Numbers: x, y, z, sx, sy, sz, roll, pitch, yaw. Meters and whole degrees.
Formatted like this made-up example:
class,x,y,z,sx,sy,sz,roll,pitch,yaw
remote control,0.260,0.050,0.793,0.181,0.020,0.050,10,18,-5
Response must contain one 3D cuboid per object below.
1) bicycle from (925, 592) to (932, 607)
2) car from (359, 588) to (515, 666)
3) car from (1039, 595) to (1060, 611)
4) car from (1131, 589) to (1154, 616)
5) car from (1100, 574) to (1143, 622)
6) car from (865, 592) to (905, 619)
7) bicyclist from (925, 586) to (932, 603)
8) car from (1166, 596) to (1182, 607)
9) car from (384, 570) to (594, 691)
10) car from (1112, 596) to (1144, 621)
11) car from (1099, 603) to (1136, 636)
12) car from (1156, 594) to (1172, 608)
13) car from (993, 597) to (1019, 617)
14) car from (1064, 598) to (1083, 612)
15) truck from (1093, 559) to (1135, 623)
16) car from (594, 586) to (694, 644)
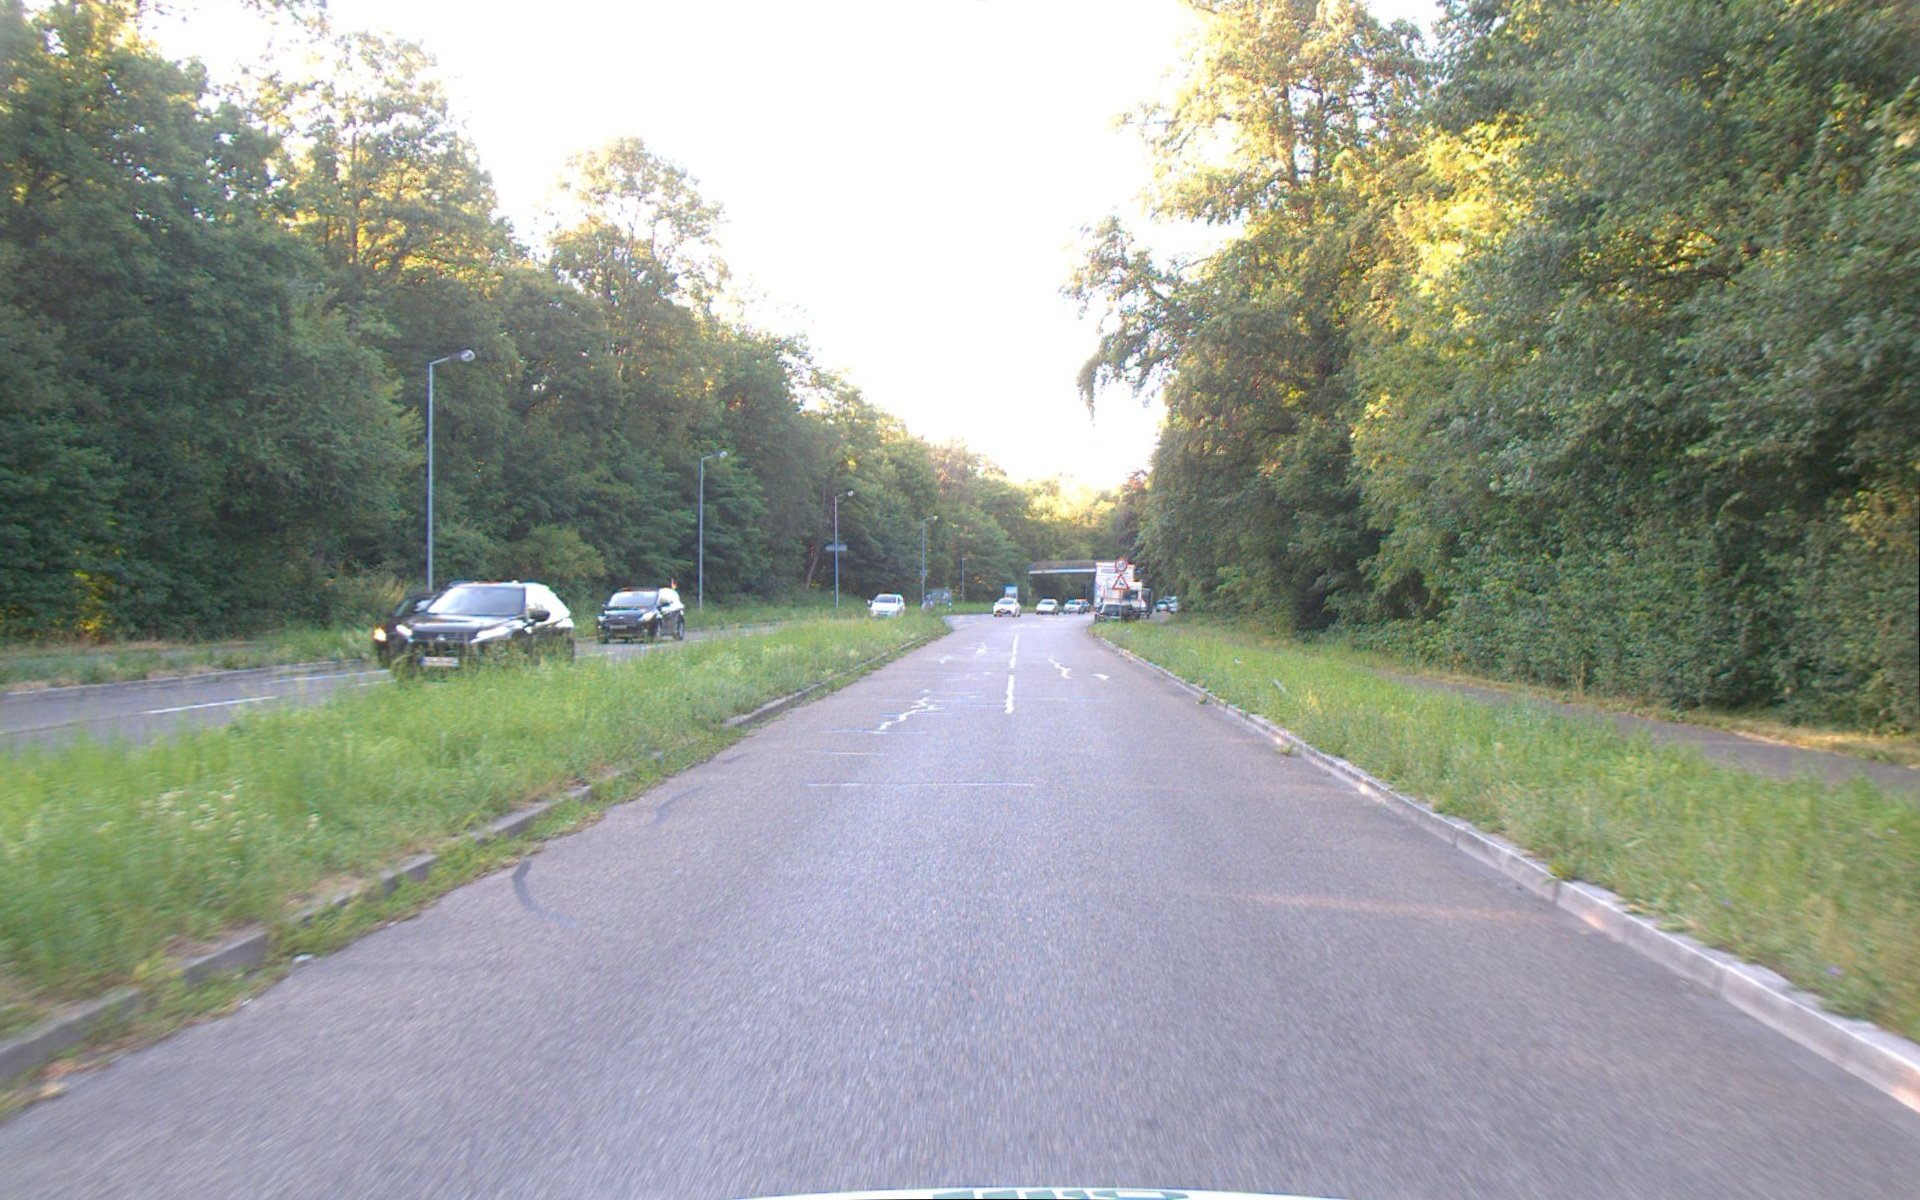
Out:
class,x,y,z,sx,sy,sz,roll,pitch,yaw
bicycle,-2.782,-0.050,146.956,0.617,1.239,2.261,0,0,-2
car,-10.848,0.526,34.617,1.785,1.506,4.234,-1,0,2
car,8.564,0.318,157.891,1.679,1.471,4.176,1,0,6
car,17.898,0.265,162.078,1.951,2.452,5.828,0,-2,9
car,10.171,-0.115,104.474,2.358,2.908,5.934,1,0,3
car,-4.407,0.363,97.512,1.951,1.483,3.812,0,-2,4
bicyclist,-2.778,-0.510,146.912,0.607,1.537,0.847,0,1,-2
car,26.839,0.191,207.260,1.851,1.473,4.113,0,0,9
car,-7.067,0.422,25.302,1.776,1.656,4.452,-1,0,2
car,9.936,0.510,98.024,1.663,1.430,4.077,1,0,3
car,7.413,0.898,78.216,1.628,1.430,3.944,3,0,5
car,27.577,0.135,223.484,1.951,1.870,4.003,0,0,8
car,3.670,0.590,132.201,1.797,1.534,3.940,0,-2,6
car,11.888,0.552,173.060,1.683,1.422,4.378,1,0,7
truck,10.585,-0.578,112.808,2.601,4.098,9.729,1,0,6
car,-9.527,0.431,50.181,1.952,1.656,4.652,-1,0,2
